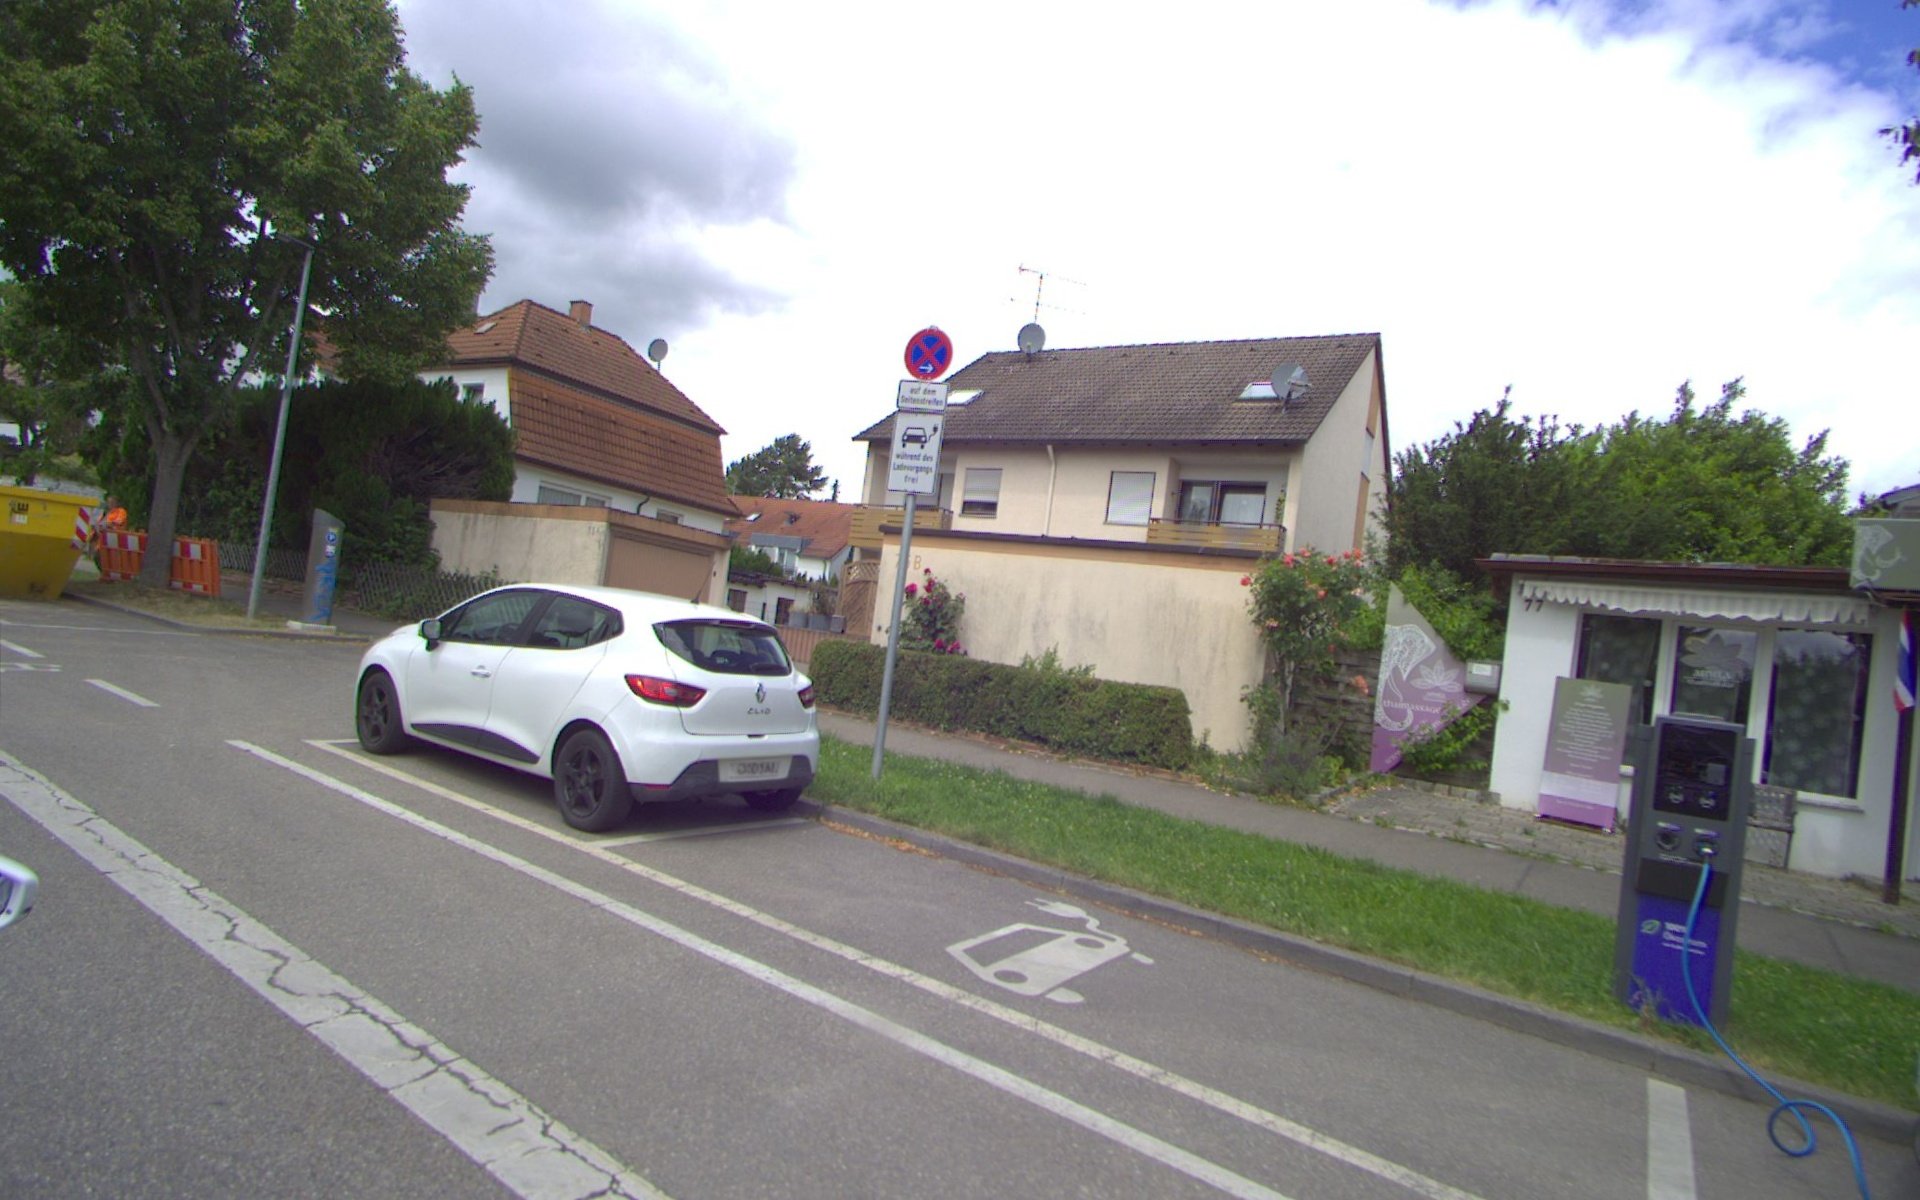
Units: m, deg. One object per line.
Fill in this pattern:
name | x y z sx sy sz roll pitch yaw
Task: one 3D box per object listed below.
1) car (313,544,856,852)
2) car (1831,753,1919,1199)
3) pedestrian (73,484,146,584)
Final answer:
car | -2.883 0.566 7.428 3.936 1.479 1.674 7 -1 34
car | 4.761 1.440 1.812 4.545 1.472 1.706 7 -1 36
pedestrian | -15.223 -1.173 18.016 0.633 1.654 0.705 7 0 34
